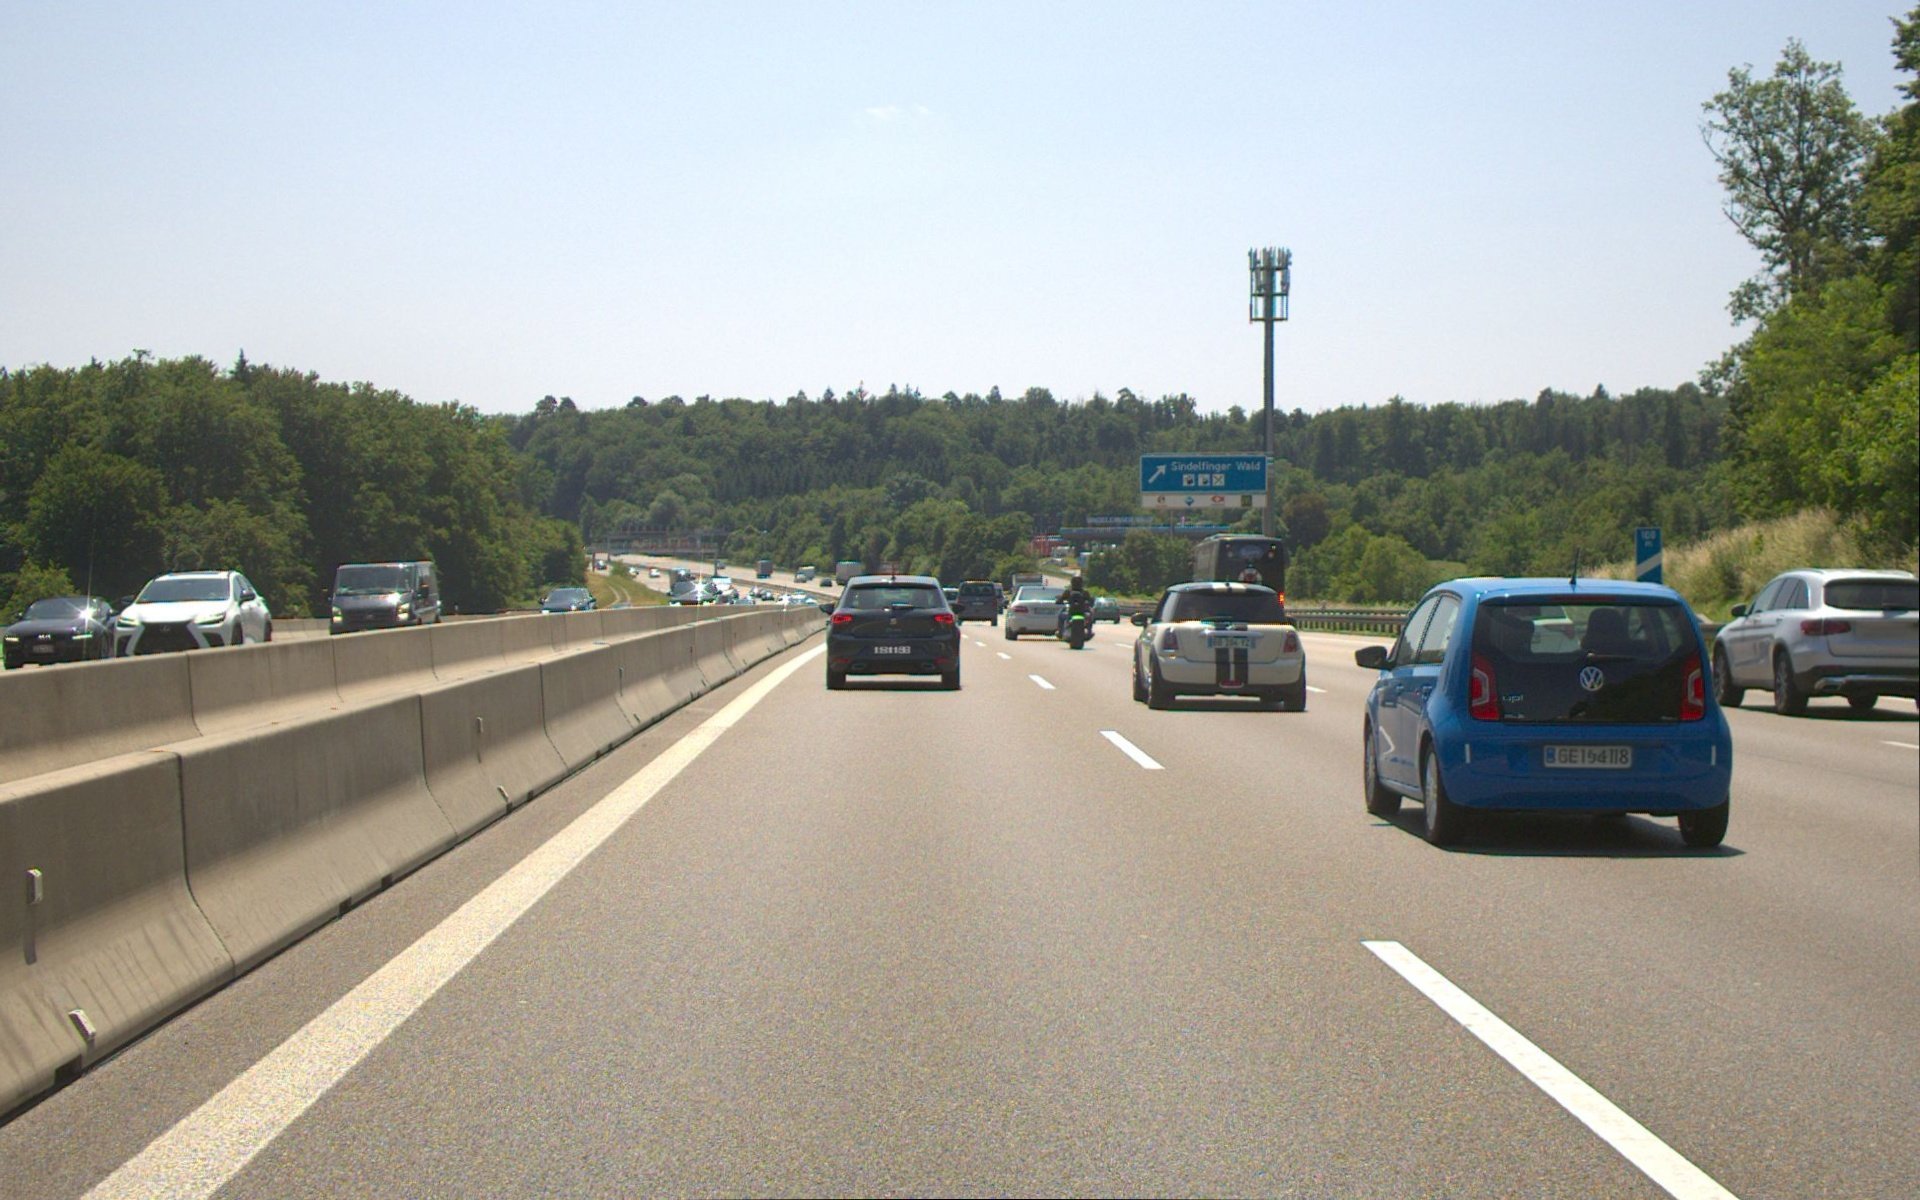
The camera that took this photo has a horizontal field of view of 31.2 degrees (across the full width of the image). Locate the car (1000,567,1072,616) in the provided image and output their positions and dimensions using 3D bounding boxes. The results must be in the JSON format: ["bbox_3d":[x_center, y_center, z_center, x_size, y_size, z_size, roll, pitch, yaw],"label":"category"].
[{"bbox_3d":[2.011,-0.242,91.721,1.782,1.261,3.460,0,1,-1],"label":"car"}]

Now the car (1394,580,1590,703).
[{"bbox_3d":[6.651,0.480,43.398,1.666,1.428,4.376,0,1,-2],"label":"car"}]

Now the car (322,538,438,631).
[{"bbox_3d":[-12.917,-0.370,76.802,1.993,2.007,4.813,0,1,-3],"label":"car"}]

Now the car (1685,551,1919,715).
[{"bbox_3d":[9.903,0.325,39.728,1.801,1.725,5.240,1,1,-1],"label":"car"}]

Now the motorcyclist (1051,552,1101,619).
[{"bbox_3d":[2.549,-0.316,75.670,0.962,1.433,1.235,-2,1,-2],"label":"motorcyclist"}]

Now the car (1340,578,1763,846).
[{"bbox_3d":[3.335,0.582,20.083,1.737,1.406,4.000,0,0,-1],"label":"car"}]

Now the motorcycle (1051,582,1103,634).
[{"bbox_3d":[2.566,0.169,75.795,0.977,1.125,2.271,0,1,-2],"label":"motorcycle"}]

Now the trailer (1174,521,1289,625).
[{"bbox_3d":[10.135,-0.912,129.627,2.857,3.675,13.543,-1,0,-2],"label":"trailer"}]

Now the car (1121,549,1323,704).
[{"bbox_3d":[2.883,0.306,38.610,1.841,1.547,4.000,3,-1,0],"label":"car"}]

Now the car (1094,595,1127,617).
[{"bbox_3d":[8.623,0.335,197.428,1.608,1.208,3.460,-1,0,-2],"label":"car"}]

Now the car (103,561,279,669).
[{"bbox_3d":[-12.318,0.201,55.354,1.895,1.657,4.729,0,1,-2],"label":"car"}]

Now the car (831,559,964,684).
[{"bbox_3d":[-0.791,0.245,44.268,1.624,1.482,3.685,1,1,-1],"label":"car"}]

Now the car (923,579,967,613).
[{"bbox_3d":[-0.818,-0.223,185.756,1.993,1.678,4.424,1,1,-5],"label":"car"}]

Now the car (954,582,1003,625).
[{"bbox_3d":[0.824,0.154,155.840,2.097,1.845,4.081,0,1,-2],"label":"car"}]

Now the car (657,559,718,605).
[{"bbox_3d":[-10.642,-0.709,134.531,1.993,1.667,5.281,-3,1,-1],"label":"car"}]

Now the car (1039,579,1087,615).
[{"bbox_3d":[4.295,-0.131,143.336,1.675,1.427,3.685,-1,1,-3],"label":"car"}]

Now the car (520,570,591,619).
[{"bbox_3d":[-14.609,-0.217,124.320,1.993,1.669,5.281,-3,0,-1],"label":"car"}]

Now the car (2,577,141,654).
[{"bbox_3d":[-16.548,0.266,64.193,1.487,1.300,4.300,-2,1,-1],"label":"car"}]
